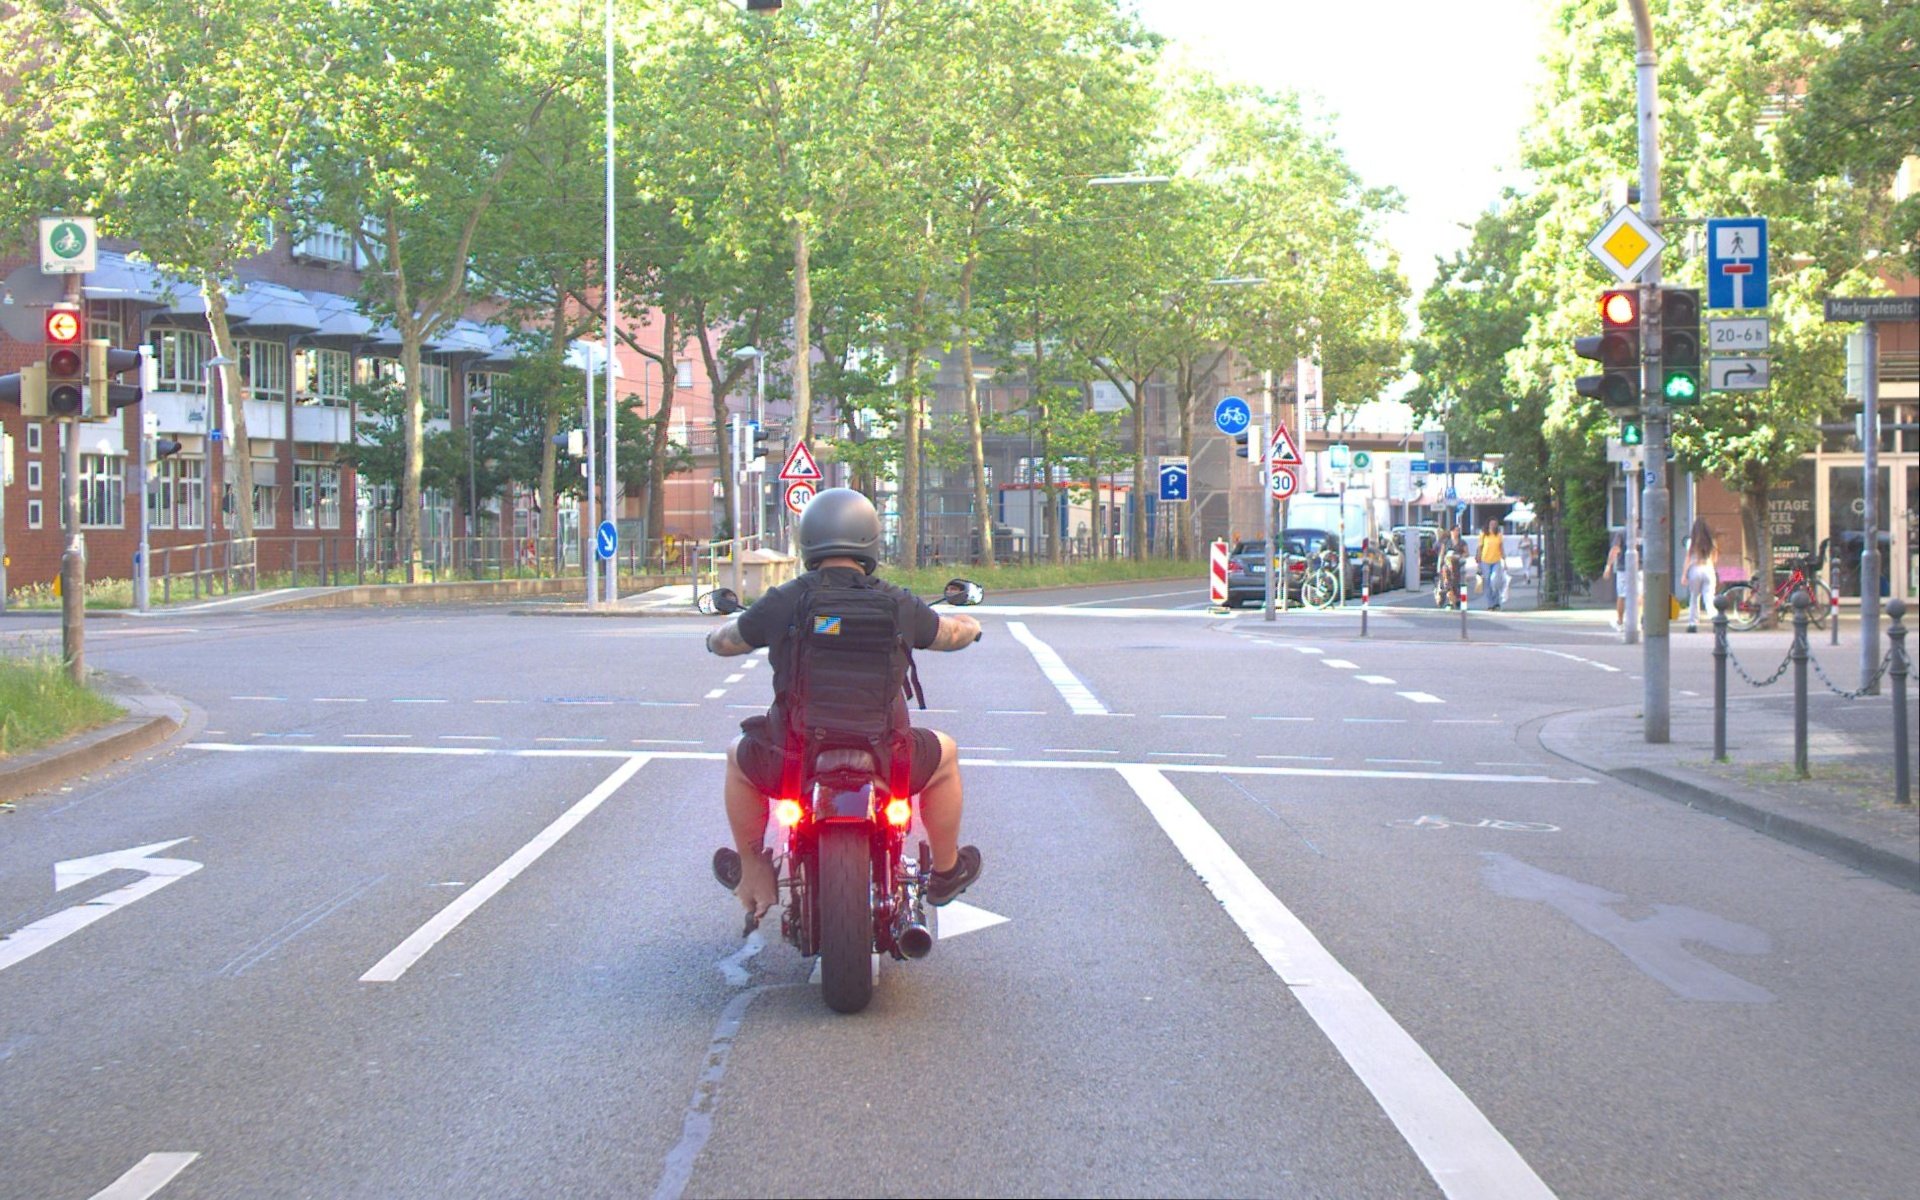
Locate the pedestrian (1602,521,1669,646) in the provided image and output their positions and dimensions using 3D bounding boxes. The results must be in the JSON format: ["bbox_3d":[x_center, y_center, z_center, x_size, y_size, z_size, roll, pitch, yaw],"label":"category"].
[{"bbox_3d":[9.565,-0.240,48.705,0.785,1.757,0.610,0,1,-6],"label":"pedestrian"}]

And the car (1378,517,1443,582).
[{"bbox_3d":[14.155,-1.593,107.834,1.836,2.007,4.386,0,1,10],"label":"car"}]

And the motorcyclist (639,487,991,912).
[{"bbox_3d":[-0.440,0.293,10.873,1.012,1.258,0.774,2,1,2],"label":"motorcyclist"}]

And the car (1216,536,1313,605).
[{"bbox_3d":[5.982,-0.589,67.249,1.621,1.298,4.310,0,1,9],"label":"car"}]

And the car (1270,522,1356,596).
[{"bbox_3d":[7.976,-0.938,77.348,1.621,1.614,4.483,0,1,10],"label":"car"}]

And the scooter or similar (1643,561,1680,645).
[{"bbox_3d":[9.936,0.038,48.692,0.394,1.154,1.249,0,1,6],"label":"scooter or similar"}]

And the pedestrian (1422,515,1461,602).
[{"bbox_3d":[8.735,-0.751,62.359,0.644,1.573,0.748,0,1,4],"label":"pedestrian"}]

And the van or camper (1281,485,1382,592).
[{"bbox_3d":[9.110,-1.504,83.889,2.049,2.532,5.771,0,1,10],"label":"van or camper"}]

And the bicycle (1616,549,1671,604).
[{"bbox_3d":[11.906,-0.419,59.934,0.737,0.936,1.752,0,1,5],"label":"bicycle"}]

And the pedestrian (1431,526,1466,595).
[{"bbox_3d":[11.661,-0.945,82.064,0.762,1.639,0.547,0,1,3],"label":"pedestrian"}]

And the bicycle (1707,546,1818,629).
[{"bbox_3d":[12.054,-0.190,51.650,1.567,1.223,0.577,0,1,6],"label":"bicycle"}]

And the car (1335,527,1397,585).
[{"bbox_3d":[11.444,-1.244,96.834,1.621,1.604,3.773,0,1,8],"label":"car"}]

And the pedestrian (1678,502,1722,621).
[{"bbox_3d":[10.428,-0.544,48.479,0.459,1.667,0.680,0,1,-1],"label":"pedestrian"}]

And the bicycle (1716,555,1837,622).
[{"bbox_3d":[12.977,-0.192,54.660,1.749,1.049,0.738,0,1,28],"label":"bicycle"}]

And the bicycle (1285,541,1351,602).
[{"bbox_3d":[6.319,-0.504,60.737,0.737,1.049,1.753,0,1,-9],"label":"bicycle"}]

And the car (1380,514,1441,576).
[{"bbox_3d":[14.900,-1.818,113.476,1.836,2.007,4.386,0,1,10],"label":"car"}]

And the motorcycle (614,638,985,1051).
[{"bbox_3d":[-0.448,0.705,10.752,1.018,1.093,2.007,0,1,1],"label":"motorcycle"}]

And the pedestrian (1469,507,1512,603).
[{"bbox_3d":[9.605,-0.815,62.264,0.700,1.727,0.767,0,1,4],"label":"pedestrian"}]

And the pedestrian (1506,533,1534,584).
[{"bbox_3d":[16.275,-1.205,99.886,0.765,1.440,0.780,1,1,9],"label":"pedestrian"}]
